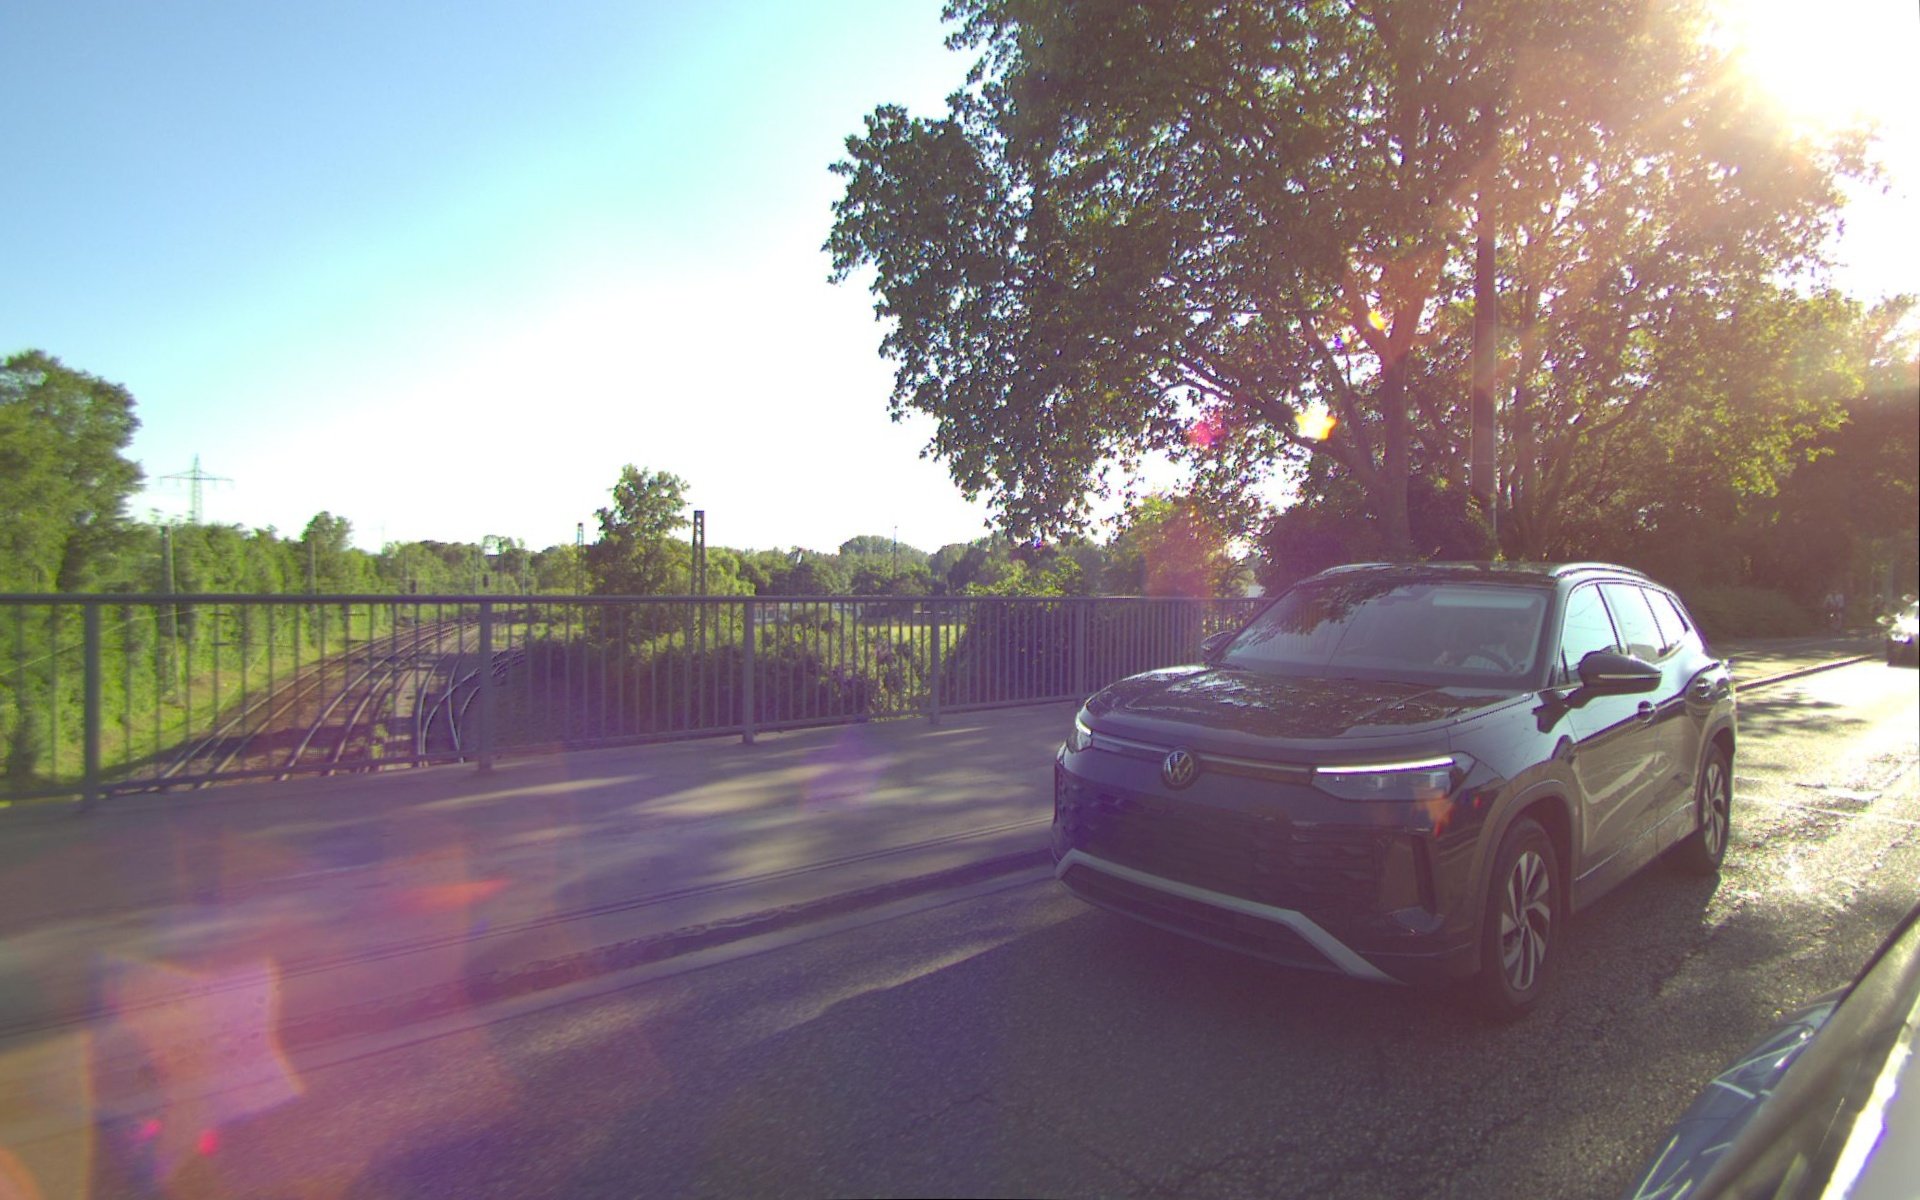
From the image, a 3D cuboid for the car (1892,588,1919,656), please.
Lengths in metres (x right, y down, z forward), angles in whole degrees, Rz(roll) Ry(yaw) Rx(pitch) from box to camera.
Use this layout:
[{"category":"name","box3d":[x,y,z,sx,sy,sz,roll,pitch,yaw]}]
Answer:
[{"category":"car","box3d":[23.002,0.469,23.163,4.504,1.486,1.870,0,0,-40]}]

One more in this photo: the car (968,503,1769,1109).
[{"category":"car","box3d":[2.281,0.539,4.942,4.362,1.682,1.848,0,1,-41]}]

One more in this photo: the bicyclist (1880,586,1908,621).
[{"category":"bicyclist","box3d":[34.490,0.118,37.380,0.875,1.241,0.642,1,1,-41]}]

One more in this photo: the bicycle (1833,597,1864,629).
[{"category":"bicycle","box3d":[33.478,0.463,38.125,1.782,1.134,0.623,-1,2,-42]}]

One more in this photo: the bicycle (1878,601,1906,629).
[{"category":"bicycle","box3d":[34.274,0.543,37.201,1.757,0.986,0.566,-1,2,-42]}]

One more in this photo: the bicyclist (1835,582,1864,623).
[{"category":"bicyclist","box3d":[33.508,0.088,38.131,0.875,1.528,0.687,1,0,-41]}]
